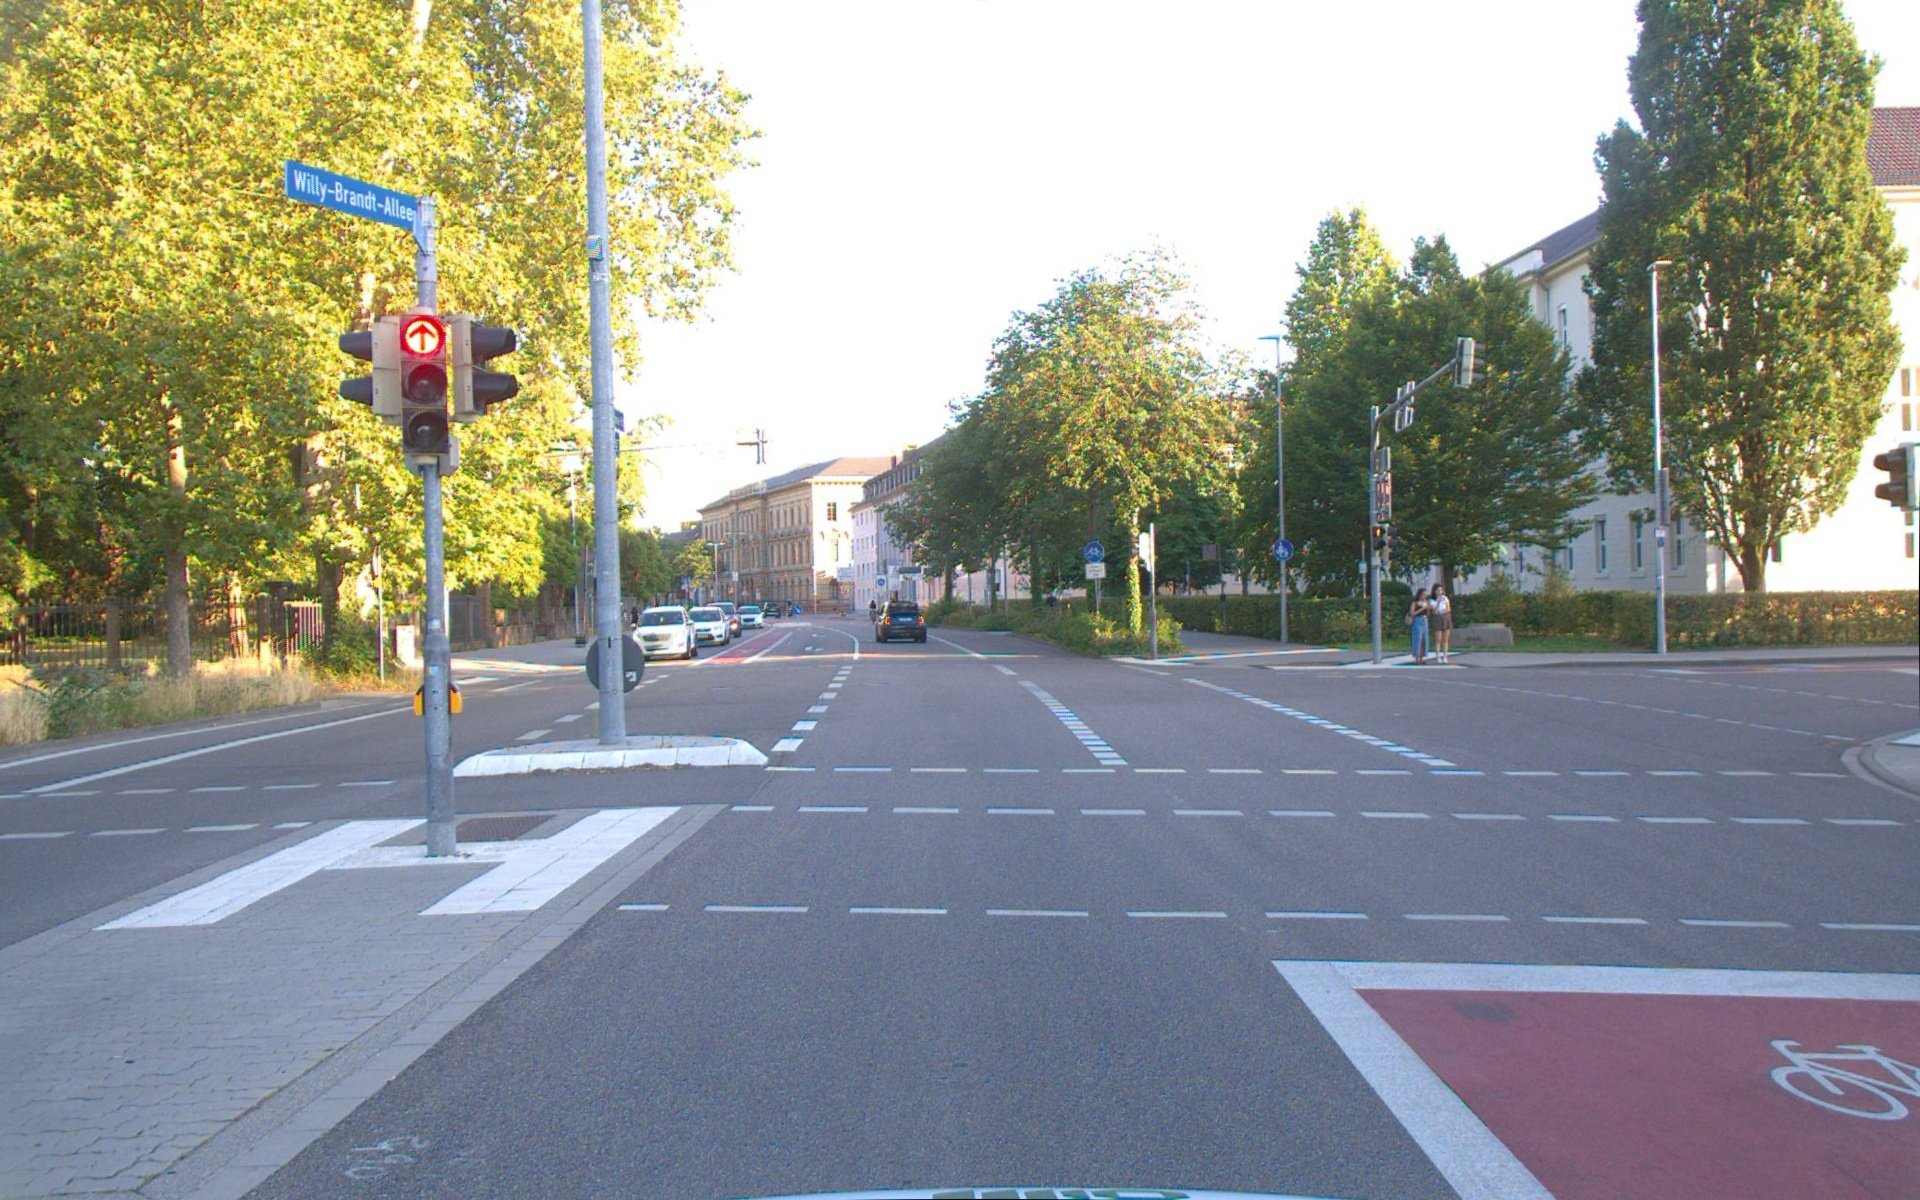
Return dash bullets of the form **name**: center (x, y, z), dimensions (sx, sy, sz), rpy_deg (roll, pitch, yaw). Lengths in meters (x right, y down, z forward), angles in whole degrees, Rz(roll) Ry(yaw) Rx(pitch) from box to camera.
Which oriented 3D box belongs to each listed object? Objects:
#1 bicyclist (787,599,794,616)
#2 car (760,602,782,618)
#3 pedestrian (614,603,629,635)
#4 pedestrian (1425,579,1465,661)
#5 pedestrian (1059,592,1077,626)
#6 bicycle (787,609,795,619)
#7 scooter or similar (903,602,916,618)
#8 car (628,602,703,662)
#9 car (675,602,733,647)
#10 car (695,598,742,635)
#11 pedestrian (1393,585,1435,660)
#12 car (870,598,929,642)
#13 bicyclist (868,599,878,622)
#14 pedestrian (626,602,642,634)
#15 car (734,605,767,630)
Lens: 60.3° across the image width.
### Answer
- **bicyclist**: center (-17.831, 0.814, 174.188), dimensions (0.640, 1.727, 0.954), rpy_deg (1, -1, -11)
- **car**: center (-19.444, 1.021, 169.725), dimensions (1.882, 1.442, 4.757), rpy_deg (-3, 0, -11)
- **pedestrian**: center (-17.870, 1.015, 87.317), dimensions (0.667, 1.650, 0.688), rpy_deg (-1, 0, -1)
- **pedestrian**: center (10.855, 0.441, 37.036), dimensions (0.667, 1.784, 0.688), rpy_deg (-1, 0, -1)
- **pedestrian**: center (5.766, 0.460, 88.236), dimensions (0.756, 1.769, 0.805), rpy_deg (-1, 0, -10)
- **bicycle**: center (-17.842, 1.450, 174.188), dimensions (0.640, 1.033, 2.192), rpy_deg (1, 0, -10)
- **scooter or similar**: center (-4.414, 0.889, 145.391), dimensions (0.619, 1.360, 2.391), rpy_deg (-1, 0, -14)
- **car**: center (-9.314, 0.971, 52.607), dimensions (1.879, 1.725, 4.422), rpy_deg (-3, 0, -5)
- **car**: center (-10.153, 0.950, 65.882), dimensions (1.879, 1.611, 4.669), rpy_deg (-3, 0, -5)
- **car**: center (-11.635, 0.774, 79.854), dimensions (1.879, 1.653, 4.634), rpy_deg (-3, 0, -5)
- **pedestrian**: center (10.160, 0.499, 37.009), dimensions (0.667, 1.650, 0.845), rpy_deg (-1, 0, -1)
- **car**: center (-2.282, 0.736, 61.559), dimensions (1.832, 1.536, 3.994), rpy_deg (-1, 0, -7)
- **bicyclist**: center (-5.793, 0.694, 110.487), dimensions (0.639, 1.471, 0.878), rpy_deg (1, 0, -4)
- **pedestrian**: center (-17.168, 0.940, 87.128), dimensions (0.667, 1.650, 0.688), rpy_deg (-1, 0, -1)
- **car**: center (-13.564, 1.110, 107.375), dimensions (1.879, 1.442, 4.765), rpy_deg (-3, 0, -5)
